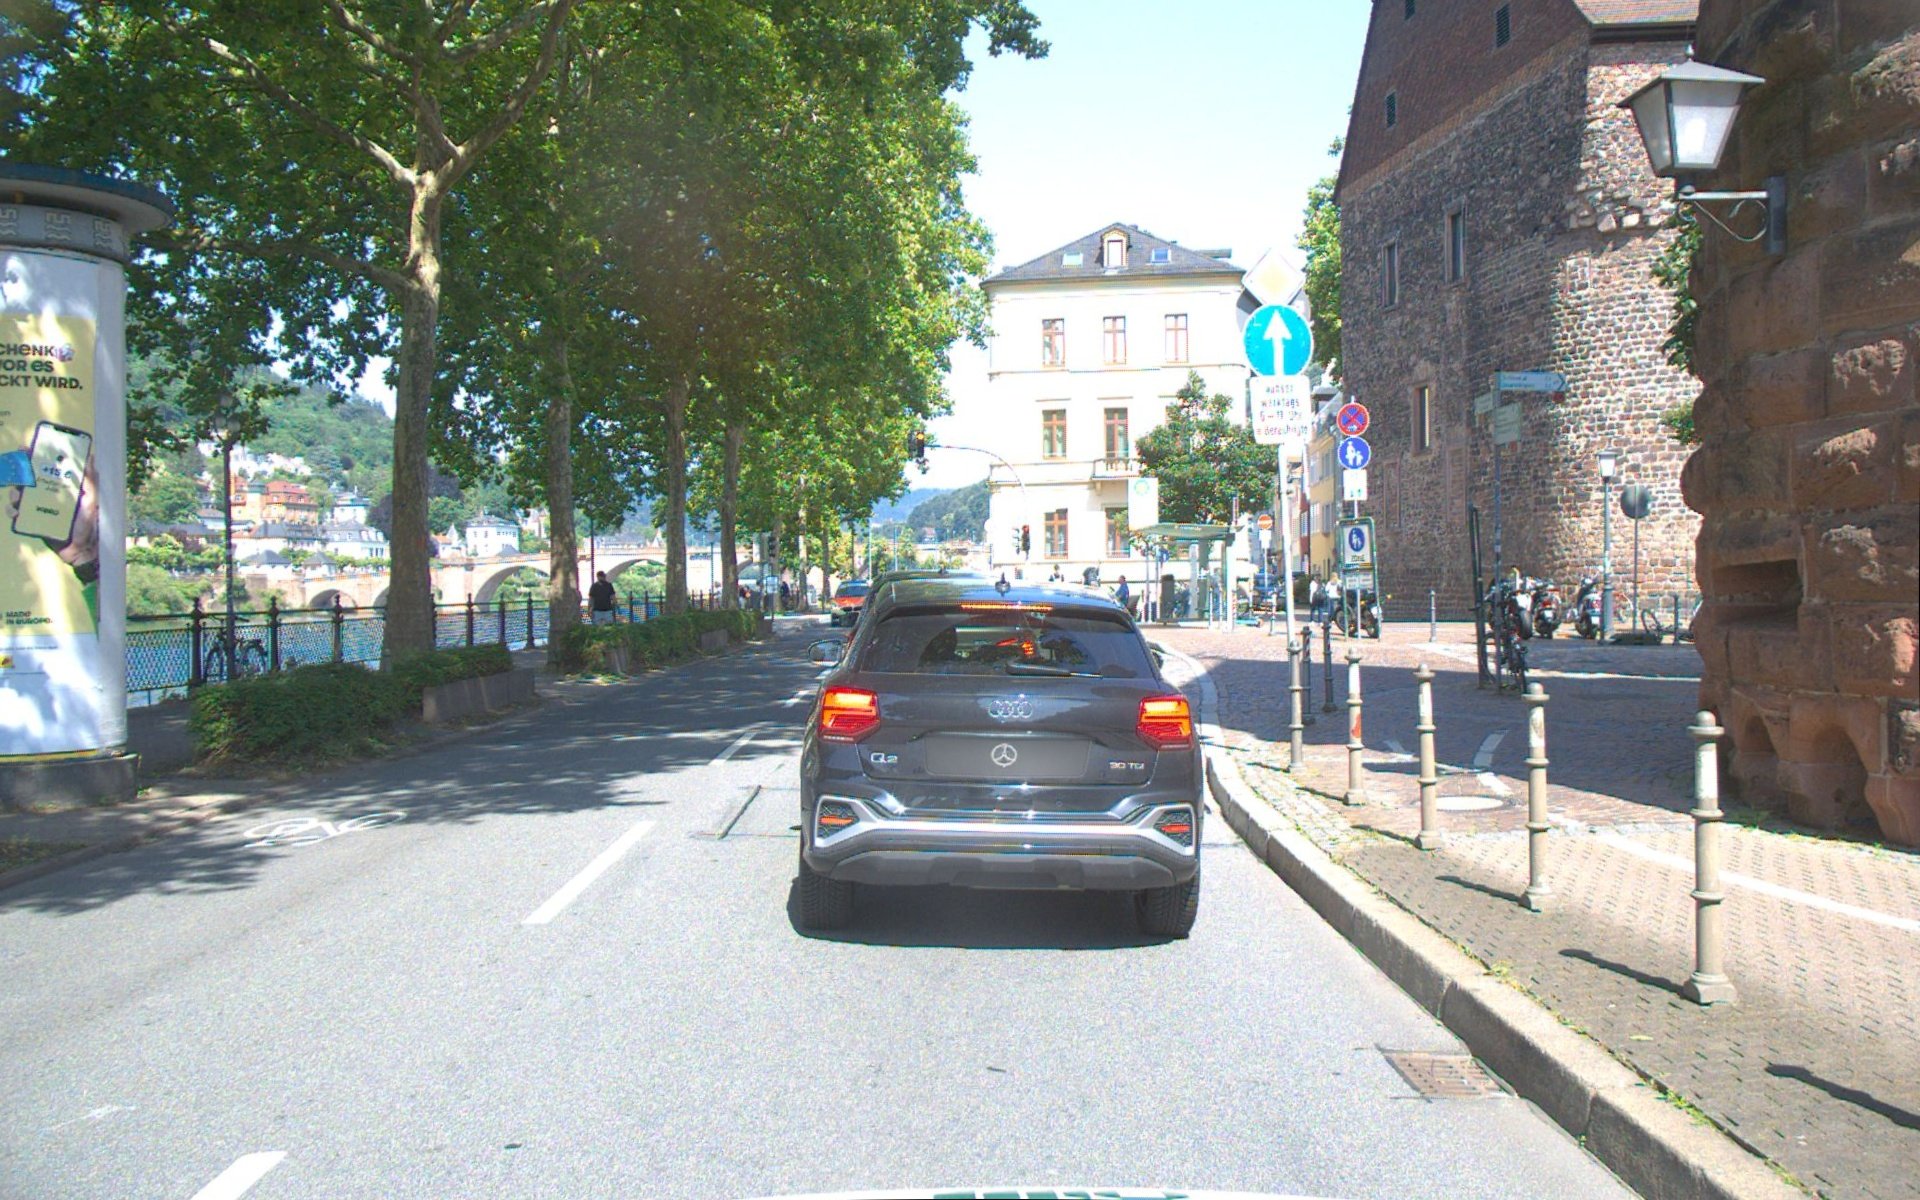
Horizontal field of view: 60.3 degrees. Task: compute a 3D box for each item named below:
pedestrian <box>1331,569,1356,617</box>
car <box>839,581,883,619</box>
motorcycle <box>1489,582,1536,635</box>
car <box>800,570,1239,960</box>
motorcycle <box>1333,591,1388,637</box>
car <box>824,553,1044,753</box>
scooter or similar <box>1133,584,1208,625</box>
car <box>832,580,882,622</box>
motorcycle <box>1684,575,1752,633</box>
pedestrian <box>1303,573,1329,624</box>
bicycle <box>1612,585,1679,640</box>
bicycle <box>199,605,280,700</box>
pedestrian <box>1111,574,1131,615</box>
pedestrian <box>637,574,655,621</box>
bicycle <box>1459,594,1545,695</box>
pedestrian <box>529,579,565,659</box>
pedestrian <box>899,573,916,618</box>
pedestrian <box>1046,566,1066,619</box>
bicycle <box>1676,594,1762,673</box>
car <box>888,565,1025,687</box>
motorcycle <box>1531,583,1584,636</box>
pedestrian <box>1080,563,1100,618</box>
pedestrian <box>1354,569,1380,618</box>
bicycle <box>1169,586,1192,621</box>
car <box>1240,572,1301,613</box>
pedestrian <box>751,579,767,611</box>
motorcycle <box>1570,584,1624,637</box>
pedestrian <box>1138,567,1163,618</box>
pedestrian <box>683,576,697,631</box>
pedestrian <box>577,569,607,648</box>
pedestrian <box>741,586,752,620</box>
[{"bbox_3d":[12.379,-0.227,53.387,0.644,1.544,0.548,1,0,1],"label":"pedestrian"},{"bbox_3d":[-4.260,-0.011,71.491,1.581,1.549,3.477,-2,1,1],"label":"car"},{"bbox_3d":[10.589,0.153,31.725,0.427,0.990,1.359,1,0,0],"label":"motorcycle"},{"bbox_3d":[0.180,0.637,8.337,1.713,1.520,3.628,1,1,-2],"label":"car"},{"bbox_3d":[7.743,0.260,32.067,0.474,0.832,2.279,-2,1,0],"label":"motorcycle"},{"bbox_3d":[-0.224,0.421,15.321,1.764,1.590,3.715,1,0,-1],"label":"car"},{"bbox_3d":[5.290,0.109,41.506,1.808,0.980,0.429,1,0,-2],"label":"scooter or similar"},{"bbox_3d":[-3.961,0.023,64.014,1.581,1.549,3.477,-2,1,1],"label":"car"},{"bbox_3d":[14.267,0.068,31.173,0.488,1.037,1.701,1,0,0],"label":"motorcycle"},{"bbox_3d":[10.752,-0.056,49.956,0.644,1.519,0.548,1,0,1],"label":"pedestrian"},{"bbox_3d":[12.982,0.221,31.352,0.395,1.007,1.825,1,0,-4],"label":"bicycle"},{"bbox_3d":[-9.560,0.667,22.008,0.350,1.182,1.825,-2,0,-3],"label":"bicycle"},{"bbox_3d":[4.853,-0.171,50.002,0.535,1.222,0.522,1,0,0],"label":"pedestrian"},{"bbox_3d":[-10.386,-0.084,54.688,0.488,1.564,0.678,1,0,-8],"label":"pedestrian"},{"bbox_3d":[6.059,0.471,18.578,0.485,1.048,2.052,-3,0,7],"label":"bicycle"},{"bbox_3d":[-9.130,0.418,36.574,0.632,1.747,0.665,1,0,-4],"label":"pedestrian"},{"bbox_3d":[-1.850,-0.165,58.201,0.545,1.585,0.660,1,0,0],"label":"pedestrian"},{"bbox_3d":[2.900,-0.219,49.869,0.545,1.585,0.660,1,0,0],"label":"pedestrian"},{"bbox_3d":[10.643,0.452,23.254,0.485,1.048,2.052,1,0,7],"label":"bicycle"},{"bbox_3d":[-0.059,0.325,23.838,1.764,1.549,3.715,-2,1,-1],"label":"car"},{"bbox_3d":[11.429,0.172,31.669,0.449,0.990,1.466,1,0,0],"label":"motorcycle"},{"bbox_3d":[3.953,-0.286,50.212,0.545,1.661,0.660,1,0,0],"label":"pedestrian"},{"bbox_3d":[13.125,-0.210,53.368,0.644,1.544,0.627,1,0,1],"label":"pedestrian"},{"bbox_3d":[6.511,0.096,48.885,0.441,0.992,1.399,1,0,0],"label":"bicycle"},{"bbox_3d":[13.913,-0.320,74.329,1.953,1.746,4.000,1,0,0],"label":"car"},{"bbox_3d":[-8.396,-0.207,69.143,0.579,1.301,0.525,1,0,-1],"label":"pedestrian"},{"bbox_3d":[12.252,0.189,31.824,0.449,0.990,1.466,1,0,0],"label":"motorcycle"},{"bbox_3d":[5.996,-0.246,52.066,0.731,1.585,0.588,1,0,0],"label":"pedestrian"},{"bbox_3d":[-9.752,0.119,59.786,0.490,1.993,0.438,0,0,-8],"label":"pedestrian"},{"bbox_3d":[-8.315,0.188,37.384,0.552,1.772,0.665,-1,0,-4],"label":"pedestrian"},{"bbox_3d":[-9.282,0.121,71.867,0.401,1.450,0.457,1,0,-3],"label":"pedestrian"}]
